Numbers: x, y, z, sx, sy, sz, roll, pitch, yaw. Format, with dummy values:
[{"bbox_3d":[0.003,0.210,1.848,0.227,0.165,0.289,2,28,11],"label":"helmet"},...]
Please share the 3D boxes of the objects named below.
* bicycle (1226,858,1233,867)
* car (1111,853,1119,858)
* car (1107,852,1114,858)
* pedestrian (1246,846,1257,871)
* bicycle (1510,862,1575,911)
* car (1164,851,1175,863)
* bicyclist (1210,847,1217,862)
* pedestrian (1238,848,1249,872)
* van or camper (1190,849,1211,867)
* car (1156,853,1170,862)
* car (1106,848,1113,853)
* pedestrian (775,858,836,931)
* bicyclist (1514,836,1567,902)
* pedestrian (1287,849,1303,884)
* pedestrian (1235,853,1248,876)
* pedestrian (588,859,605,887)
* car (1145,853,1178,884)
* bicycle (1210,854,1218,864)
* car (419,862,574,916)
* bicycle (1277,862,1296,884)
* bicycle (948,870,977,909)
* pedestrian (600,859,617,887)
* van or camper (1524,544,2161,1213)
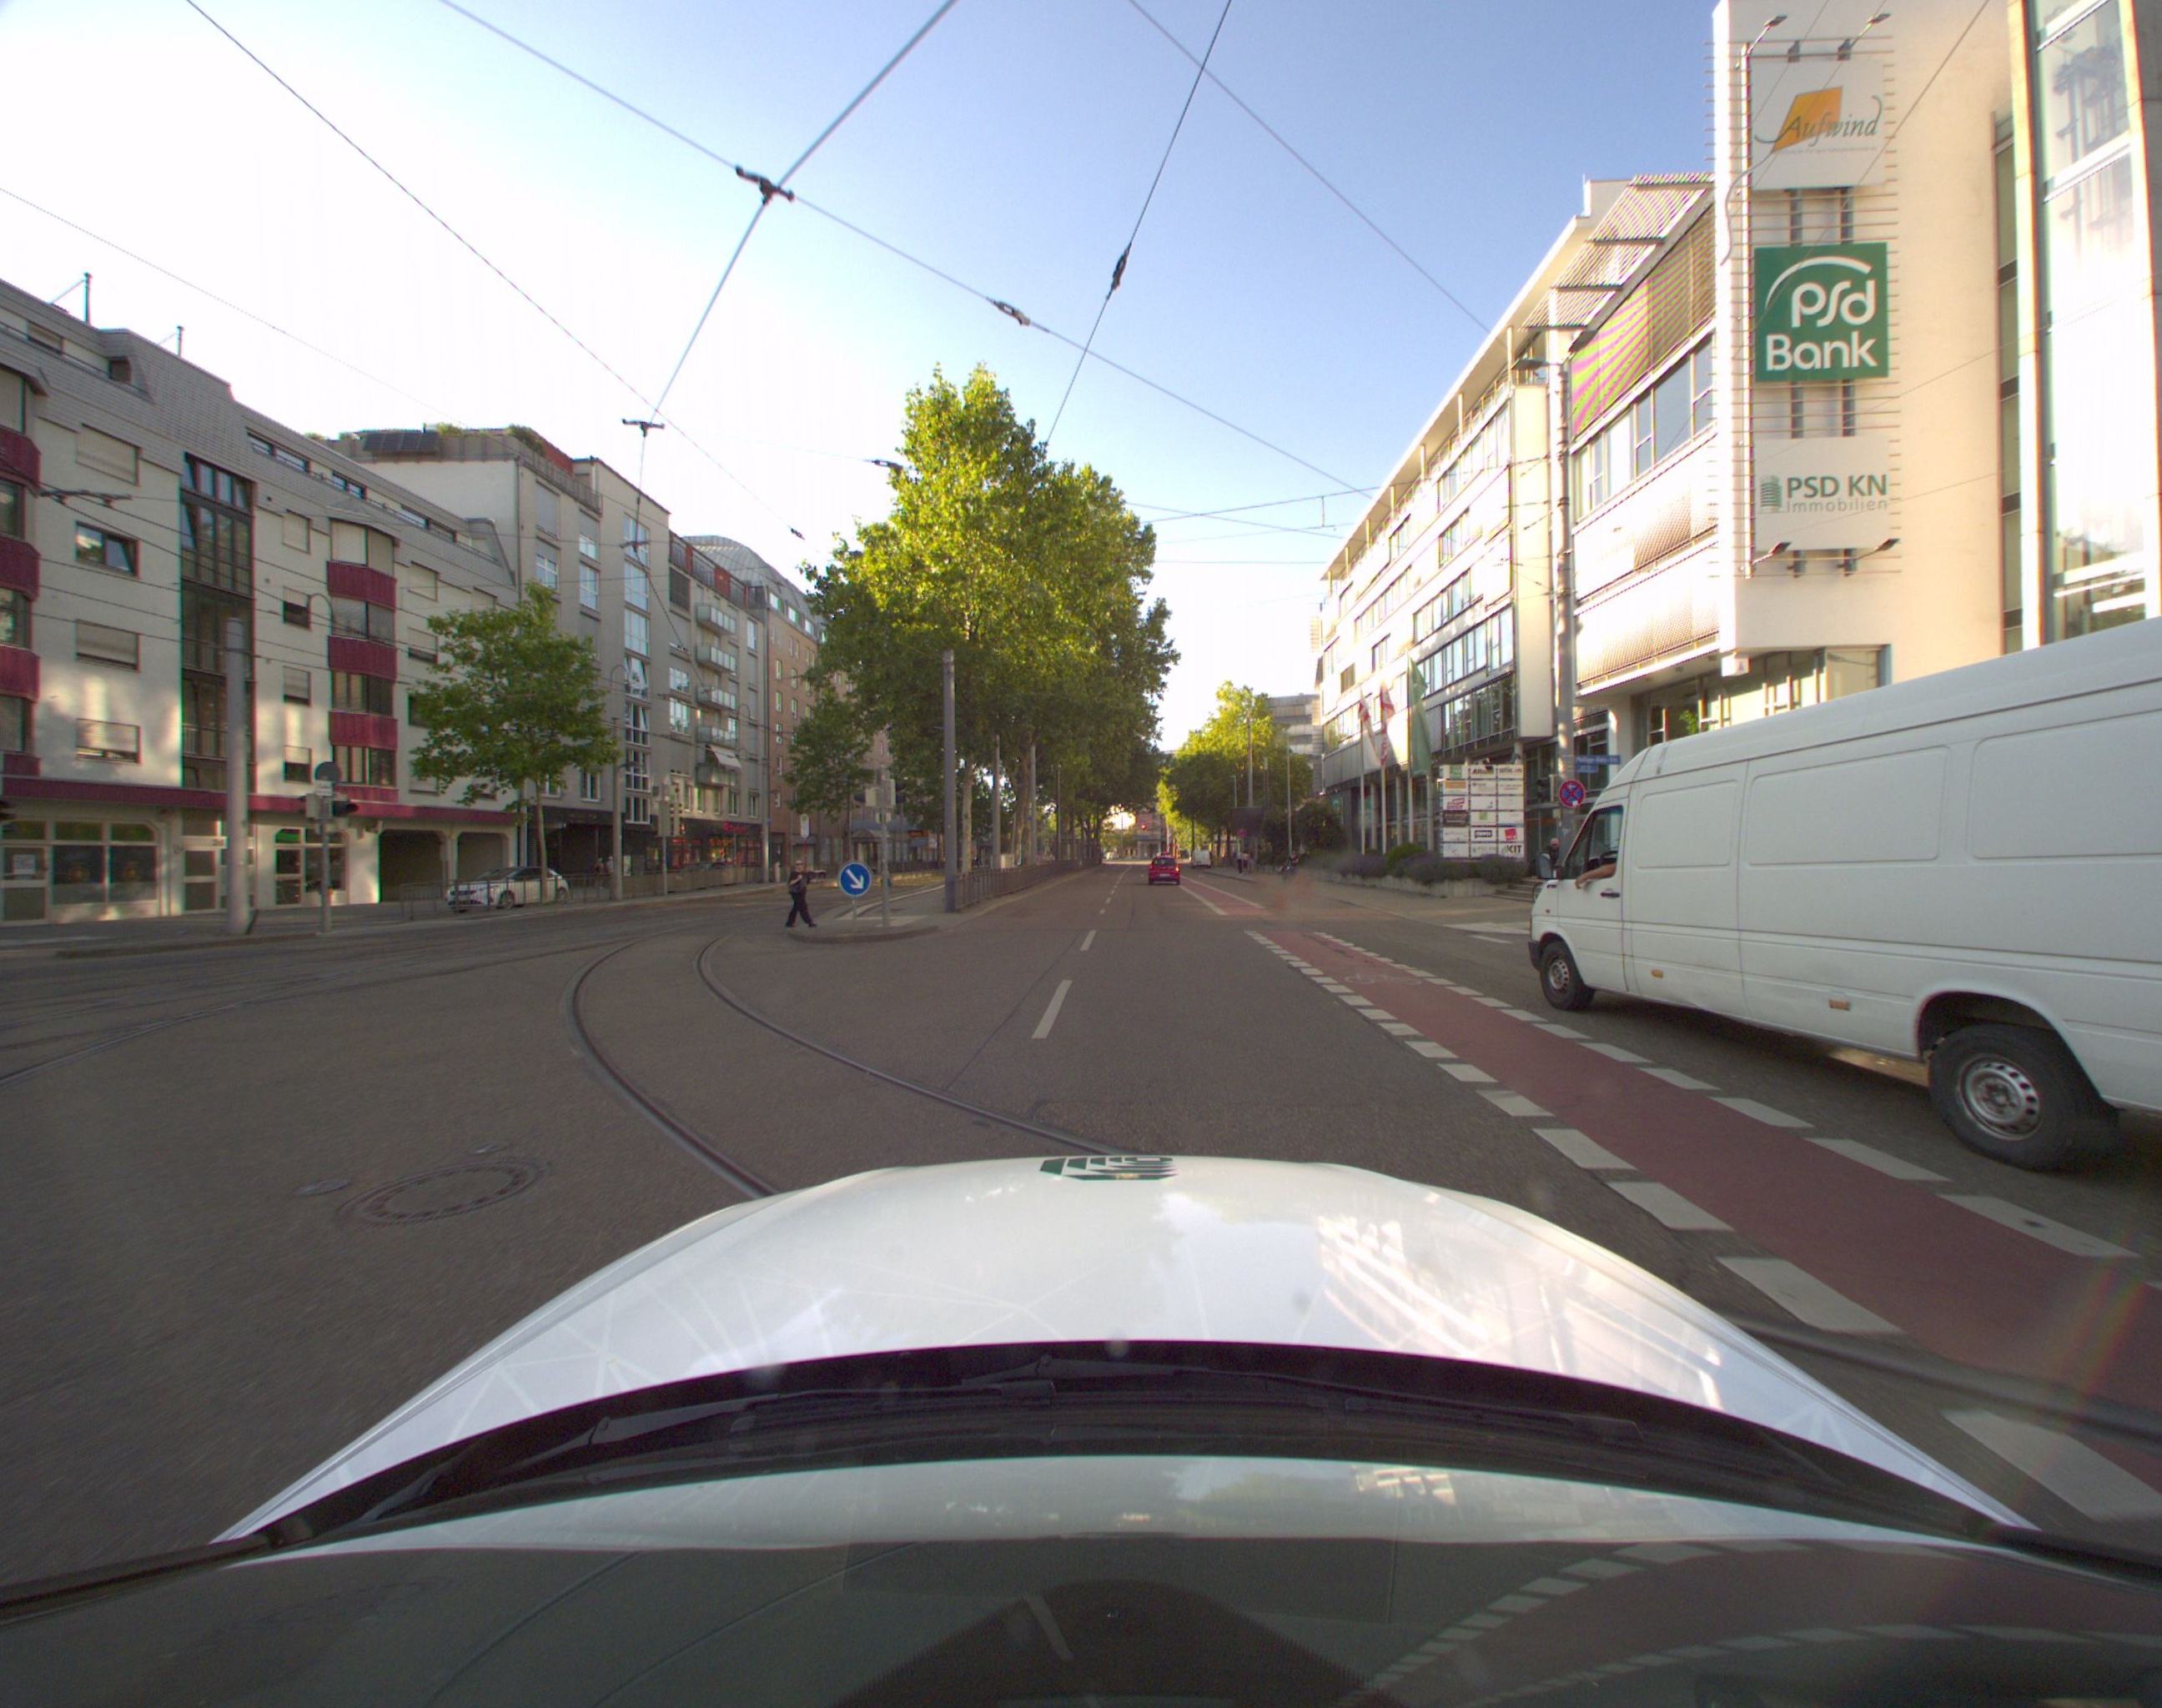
[{"bbox_3d":[17.338,1.009,95.193,0.583,1.067,1.901,-2,0,3],"label":"bicycle"},{"bbox_3d":[9.043,0.408,215.466,1.772,1.535,3.410,0,0,-1],"label":"car"},{"bbox_3d":[8.139,0.361,222.117,1.772,1.535,3.410,0,0,-1],"label":"car"},{"bbox_3d":[12.741,0.346,60.775,0.538,1.796,0.907,-4,-1,1],"label":"pedestrian"},{"bbox_3d":[11.597,0.785,20.531,0.693,1.098,1.753,-4,0,5],"label":"bicycle"},{"bbox_3d":[13.753,0.459,126.130,1.627,1.800,3.335,-1,0,5],"label":"car"},{"bbox_3d":[15.364,0.024,94.391,0.647,1.702,0.952,0,-1,3],"label":"bicyclist"},{"bbox_3d":[12.010,0.437,60.316,0.562,1.702,0.907,-4,-1,1],"label":"pedestrian"},{"bbox_3d":[13.179,0.460,89.944,1.984,1.989,4.750,0,0,4],"label":"van or camper"},{"bbox_3d":[13.409,0.527,133.398,1.772,1.535,3.510,0,0,-1],"label":"car"},{"bbox_3d":[8.075,-1.002,228.152,1.772,1.588,3.410,0,0,-1],"label":"car"},{"bbox_3d":[-5.997,0.863,17.760,1.040,1.544,0.695,-1,0,6],"label":"pedestrian"},{"bbox_3d":[11.571,0.368,20.535,0.718,1.603,1.090,-3,0,5],"label":"bicyclist"},{"bbox_3d":[10.467,0.590,39.927,0.643,1.680,0.652,-1,0,6],"label":"pedestrian"},{"bbox_3d":[11.493,0.764,58.358,0.641,1.579,0.721,-4,-1,-8],"label":"pedestrian"},{"bbox_3d":[-26.372,1.009,44.322,0.532,1.494,0.587,-1,0,1],"label":"pedestrian"},{"bbox_3d":[4.136,0.704,42.230,1.606,1.535,3.415,0,0,3],"label":"car"},{"bbox_3d":[15.369,0.592,94.255,0.680,1.067,2.471,-2,0,3],"label":"bicycle"},{"bbox_3d":[-19.460,1.123,27.389,1.947,1.595,4.264,-1,0,3],"label":"car"},{"bbox_3d":[10.052,0.903,39.955,0.518,0.975,2.205,-4,0,5],"label":"bicycle"},{"bbox_3d":[-3.240,0.964,22.369,0.393,0.949,1.354,-1,2,9],"label":"bicycle"},{"bbox_3d":[-25.787,1.015,44.466,0.532,1.494,0.587,-1,0,0],"label":"pedestrian"},{"bbox_3d":[5.510,0.099,5.508,1.960,2.716,6.311,0,0,4],"label":"van or camper"}]
